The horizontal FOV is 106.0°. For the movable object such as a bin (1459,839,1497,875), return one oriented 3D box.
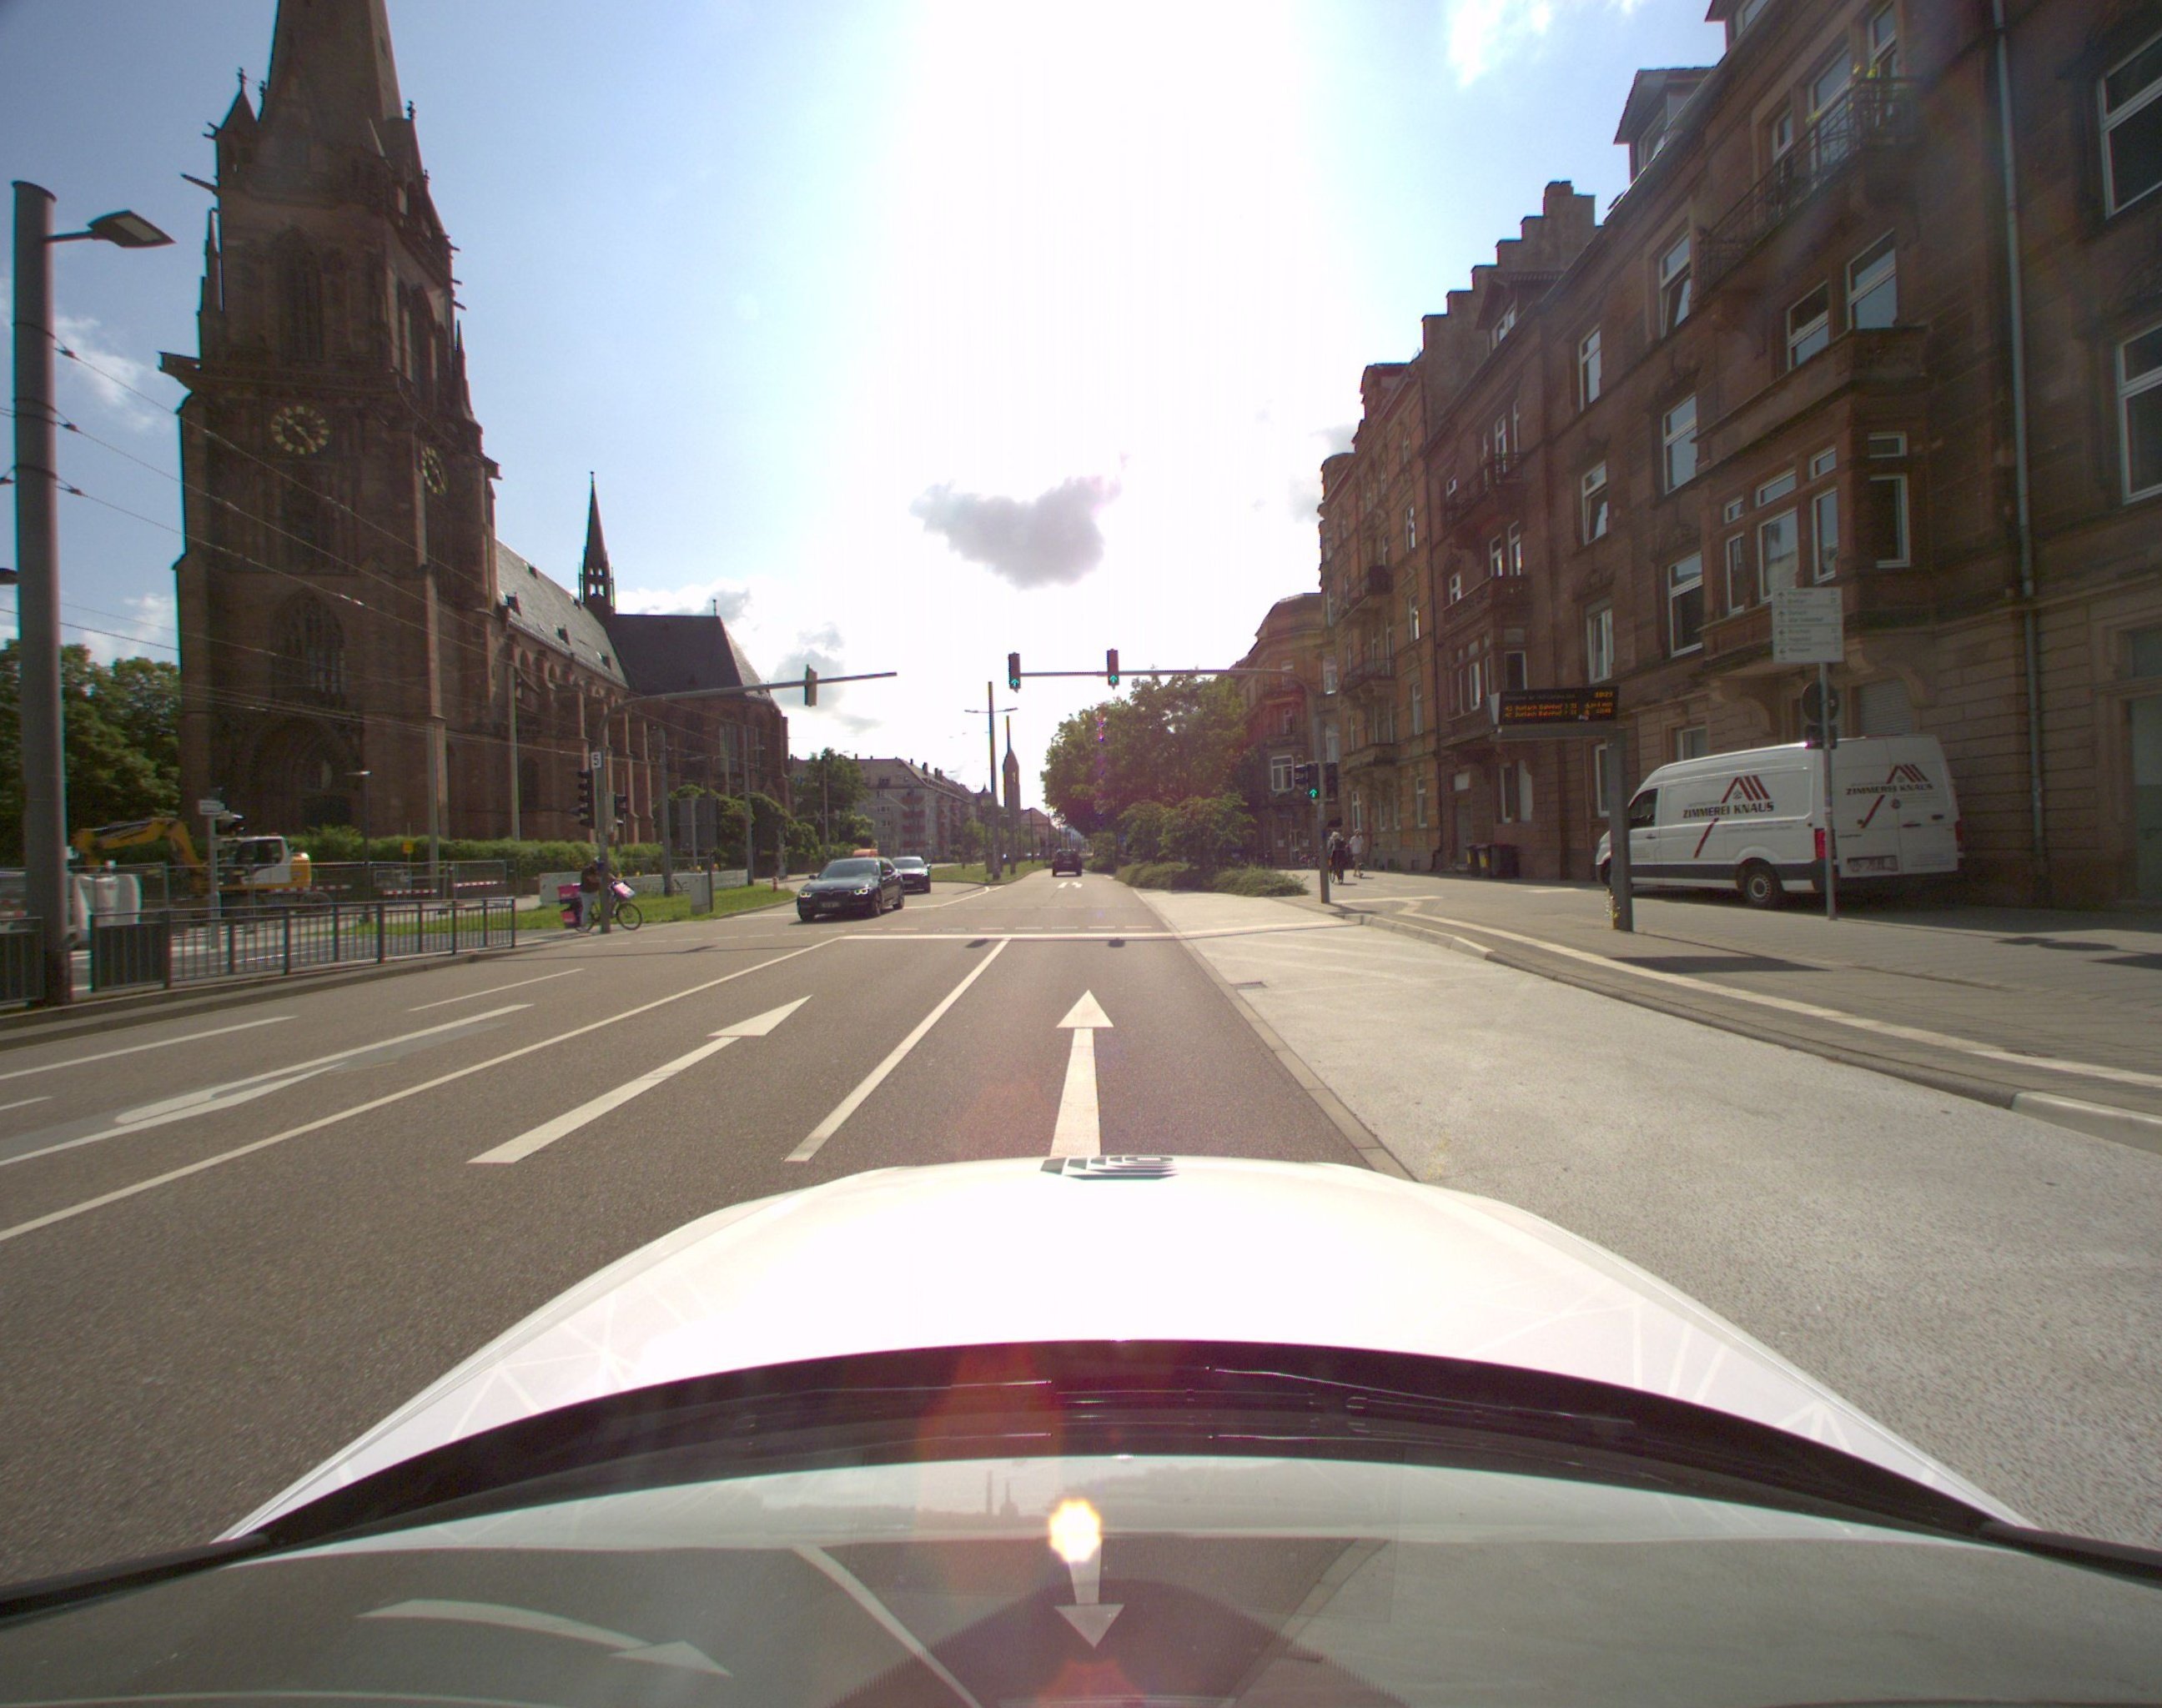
[{"bbox_3d":[12.744,0.103,26.164,0.783,1.107,0.776,-2,0,-1],"label":"movable object such as a bin"}]

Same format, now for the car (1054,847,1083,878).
[{"bbox_3d":[-0.771,0.479,50.880,1.684,1.711,3.608,-2,2,-1],"label":"car"}]

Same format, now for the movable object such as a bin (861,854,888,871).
[{"bbox_3d":[-23.650,0.929,93.395,2.201,1.693,3.714,-2,2,-3],"label":"movable object such as a bin"}]

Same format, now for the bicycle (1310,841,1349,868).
[{"bbox_3d":[12.152,0.022,39.836,1.761,1.267,0.467,-2,2,4],"label":"bicycle"}]

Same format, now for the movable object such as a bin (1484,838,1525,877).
[{"bbox_3d":[12.745,0.099,24.513,0.783,1.107,0.776,-2,0,-1],"label":"movable object such as a bin"}]

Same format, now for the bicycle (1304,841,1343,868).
[{"bbox_3d":[12.092,0.041,40.640,1.761,1.267,0.467,-2,2,4],"label":"bicycle"}]

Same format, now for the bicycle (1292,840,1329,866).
[{"bbox_3d":[12.094,-0.049,42.943,1.761,1.267,0.467,-2,2,4],"label":"bicycle"}]

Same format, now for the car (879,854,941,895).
[{"bbox_3d":[-7.086,0.789,34.107,1.795,1.552,4.291,-2,0,-3],"label":"car"}]

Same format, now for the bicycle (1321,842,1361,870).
[{"bbox_3d":[12.240,0.090,38.386,1.738,1.267,0.467,-2,2,4],"label":"bicycle"}]

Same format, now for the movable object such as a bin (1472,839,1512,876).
[{"bbox_3d":[12.744,0.098,25.270,0.783,1.107,0.776,-2,0,-1],"label":"movable object such as a bin"}]

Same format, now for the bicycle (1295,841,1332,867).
[{"bbox_3d":[12.081,-0.020,42.282,1.761,1.267,0.467,-2,2,4],"label":"bicycle"}]

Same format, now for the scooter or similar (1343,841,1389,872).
[{"bbox_3d":[12.273,0.102,35.124,1.763,1.185,0.466,-4,-1,1],"label":"scooter or similar"}]

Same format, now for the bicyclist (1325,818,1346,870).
[{"bbox_3d":[8.583,-0.336,27.468,0.426,1.718,0.828,-2,1,2],"label":"bicyclist"}]

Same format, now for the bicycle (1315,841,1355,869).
[{"bbox_3d":[12.187,0.060,39.064,1.761,1.267,0.467,-2,2,4],"label":"bicycle"}]

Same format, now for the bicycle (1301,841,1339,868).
[{"bbox_3d":[12.103,0.037,41.265,1.761,1.267,0.467,-2,2,4],"label":"bicycle"}]

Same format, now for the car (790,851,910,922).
[{"bbox_3d":[-5.761,0.737,20.919,1.812,1.552,4.557,-2,0,-2],"label":"car"}]

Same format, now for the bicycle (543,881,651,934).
[{"bbox_3d":[-11.346,1.242,19.118,2.005,1.126,0.934,-2,0,11],"label":"bicycle"}]

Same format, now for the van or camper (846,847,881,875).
[{"bbox_3d":[-23.255,0.719,87.194,2.251,2.737,6.196,-2,0,-3],"label":"van or camper"}]

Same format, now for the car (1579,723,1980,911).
[{"bbox_3d":[11.489,-0.535,14.239,1.986,2.525,5.890,-2,0,1],"label":"car"}]

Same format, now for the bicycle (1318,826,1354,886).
[{"bbox_3d":[8.557,0.069,27.397,0.681,1.925,1.590,-3,0,2],"label":"bicycle"}]

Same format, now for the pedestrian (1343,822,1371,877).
[{"bbox_3d":[10.417,-0.180,30.734,0.765,2.013,0.715,-3,0,1],"label":"pedestrian"}]

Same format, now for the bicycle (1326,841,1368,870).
[{"bbox_3d":[12.339,0.044,37.801,1.761,1.267,0.467,-2,2,4],"label":"bicycle"}]

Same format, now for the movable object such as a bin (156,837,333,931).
[{"bbox_3d":[-30.653,0.997,30.042,1.984,3.105,4.007,-2,2,5],"label":"movable object such as a bin"}]

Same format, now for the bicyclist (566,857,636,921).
[{"bbox_3d":[-11.272,0.804,19.149,1.082,1.436,0.827,-2,0,11],"label":"bicyclist"}]

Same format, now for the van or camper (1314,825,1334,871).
[{"bbox_3d":[10.888,-0.289,36.495,0.663,2.013,0.638,-3,0,1],"label":"van or camper"}]
